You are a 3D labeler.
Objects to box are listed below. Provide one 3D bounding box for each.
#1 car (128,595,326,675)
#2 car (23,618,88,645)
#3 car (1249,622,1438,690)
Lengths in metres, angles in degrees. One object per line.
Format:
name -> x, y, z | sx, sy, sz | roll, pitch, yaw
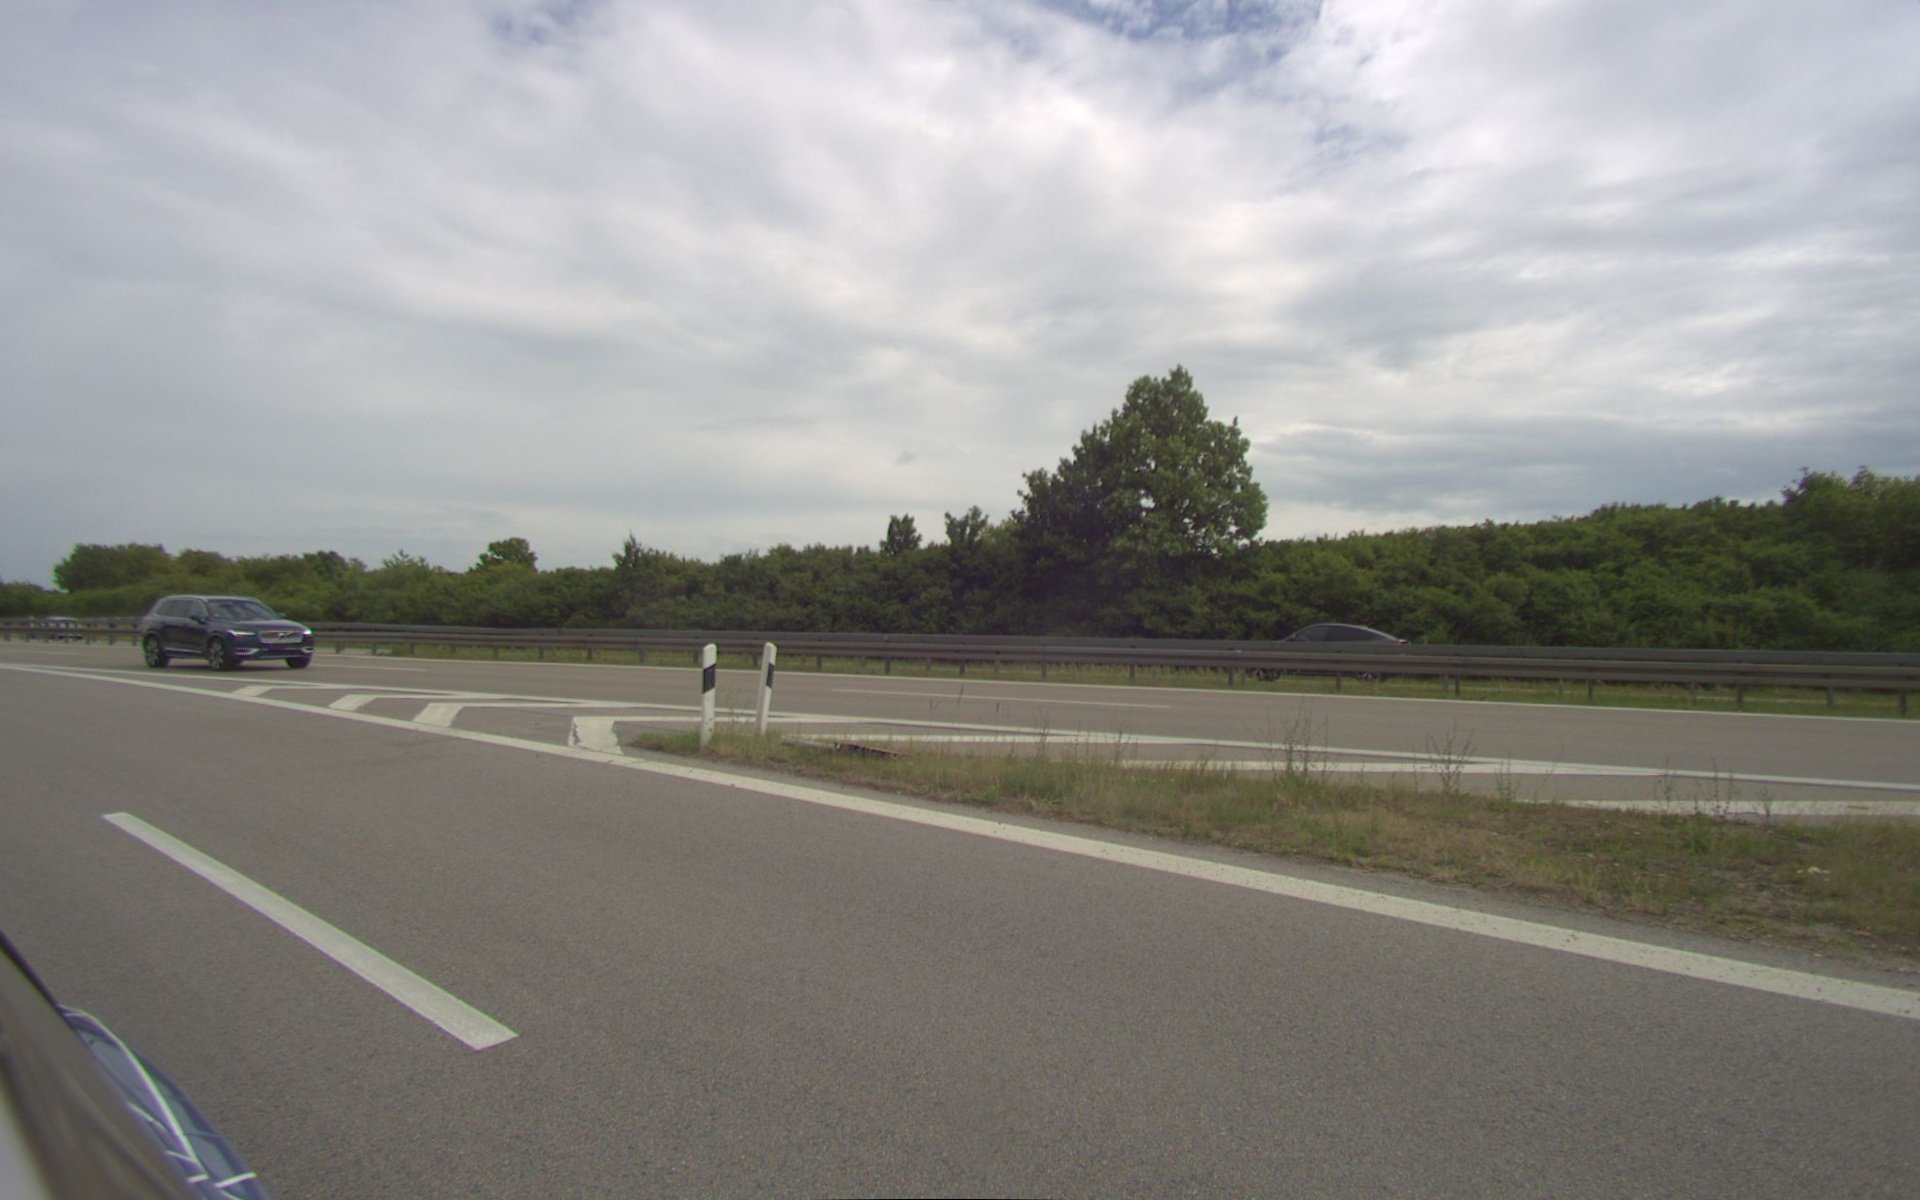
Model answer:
car -> -17.775, 0.813, 24.507 | 4.902, 1.775, 1.980 | 0, -1, 29
car -> -57.828, 1.997, 64.681 | 3.980, 1.608, 1.792 | 0, -1, 27
car -> 10.288, 1.449, 27.215 | 4.544, 1.674, 1.980 | 0, -2, 29
